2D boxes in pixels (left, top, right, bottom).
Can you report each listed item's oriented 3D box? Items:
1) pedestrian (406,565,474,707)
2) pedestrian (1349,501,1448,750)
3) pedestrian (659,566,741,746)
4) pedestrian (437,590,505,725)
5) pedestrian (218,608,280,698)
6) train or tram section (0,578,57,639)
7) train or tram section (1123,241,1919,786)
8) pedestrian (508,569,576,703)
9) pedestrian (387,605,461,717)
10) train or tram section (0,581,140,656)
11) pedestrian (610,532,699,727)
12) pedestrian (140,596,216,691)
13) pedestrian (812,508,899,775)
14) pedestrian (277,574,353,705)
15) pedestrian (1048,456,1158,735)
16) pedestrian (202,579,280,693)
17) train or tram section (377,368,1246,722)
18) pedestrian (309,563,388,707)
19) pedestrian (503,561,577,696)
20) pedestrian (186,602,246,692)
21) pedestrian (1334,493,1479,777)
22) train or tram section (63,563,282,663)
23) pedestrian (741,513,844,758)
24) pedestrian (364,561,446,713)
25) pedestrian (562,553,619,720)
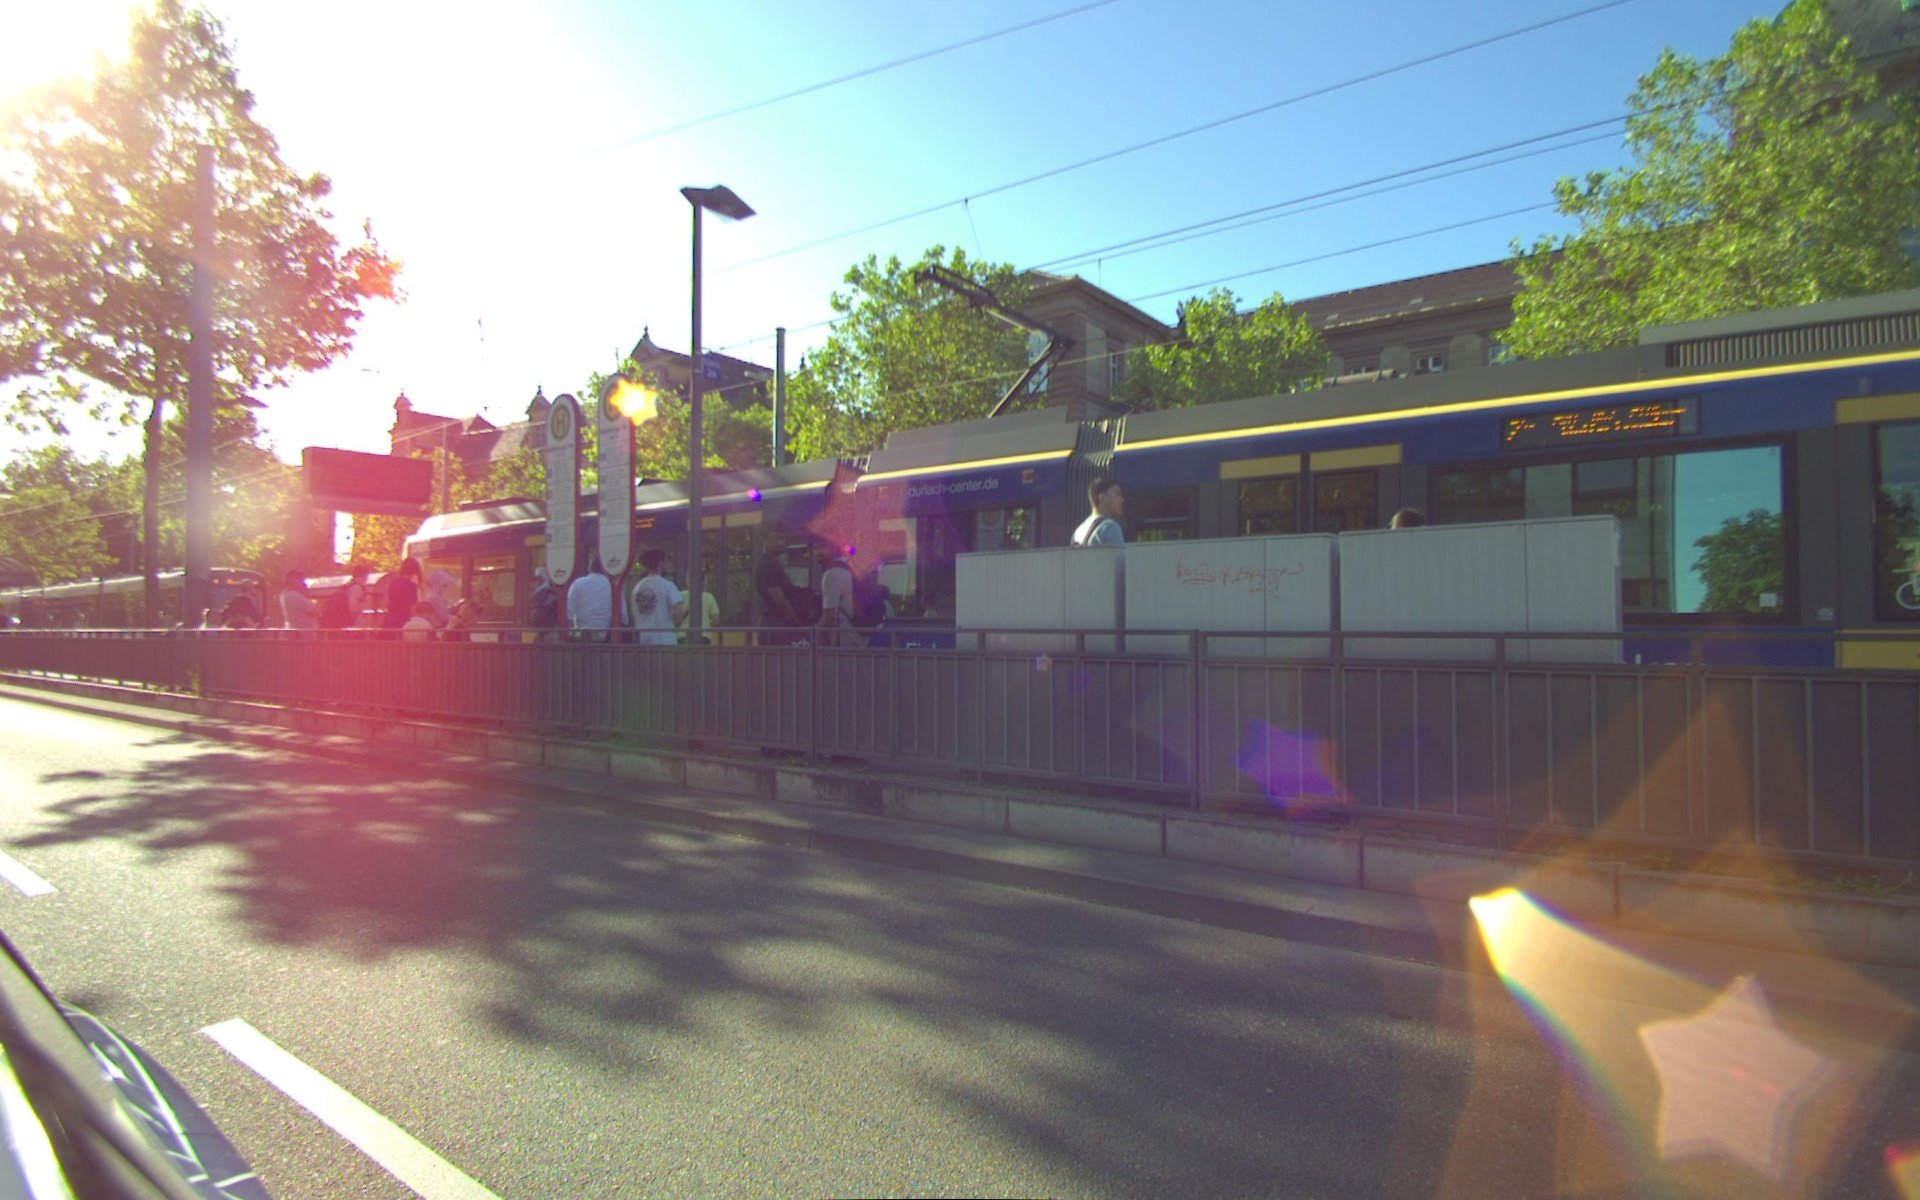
[{"bbox_3d":[-6.495,0.451,12.644,0.620,1.721,0.510,-2,-3,37],"label":"pedestrian"},{"bbox_3d":[3.199,0.185,7.376,0.544,1.715,0.603,-1,-3,33],"label":"pedestrian"},{"bbox_3d":[-2.671,0.566,10.423,0.610,1.783,0.548,-1,-3,33],"label":"pedestrian"},{"bbox_3d":[-4.975,0.574,10.301,0.506,1.326,0.412,-2,-3,36],"label":"pedestrian"},{"bbox_3d":[-10.215,0.754,14.541,0.603,1.256,0.529,-2,-3,36],"label":"pedestrian"},{"bbox_3d":[-46.761,0.531,48.414,15.651,2.584,2.538,-2,-2,38],"label":"train or tram section"},{"bbox_3d":[7.571,-0.542,6.562,13.093,3.284,2.887,0,0,38],"label":"train or tram section"},{"bbox_3d":[-4.930,0.424,11.940,0.530,1.530,0.540,-2,-3,37],"label":"pedestrian"},{"bbox_3d":[-5.956,0.664,11.247,0.530,1.201,0.540,-2,-3,37],"label":"pedestrian"},{"bbox_3d":[-47.479,1.068,53.180,18.249,3.460,2.844,-2,-1,38],"label":"train or tram section"},{"bbox_3d":[-2.800,0.273,9.286,0.610,1.715,0.501,-1,-3,34],"label":"pedestrian"},{"bbox_3d":[-12.900,0.718,16.707,0.750,1.521,0.769,-1,-3,34],"label":"pedestrian"},{"bbox_3d":[-0.731,0.279,6.971,0.531,1.747,0.551,0,-2,-13],"label":"pedestrian"},{"bbox_3d":[-8.351,0.509,13.101,0.570,1.646,0.654,-2,-3,38],"label":"pedestrian"},{"bbox_3d":[0.953,-0.021,6.714,0.538,1.747,0.543,-1,-3,33],"label":"pedestrian"},{"bbox_3d":[-11.495,0.571,16.188,0.721,1.766,0.769,-1,-3,34],"label":"pedestrian"},{"bbox_3d":[-3.851,-0.493,15.398,15.869,3.284,2.887,0,0,38],"label":"train or tram section"},{"bbox_3d":[-7.526,0.429,12.457,0.570,1.709,0.654,-2,-3,38],"label":"pedestrian"},{"bbox_3d":[-5.354,0.364,12.904,0.621,1.662,0.613,-1,-3,33],"label":"pedestrian"},{"bbox_3d":[-11.126,0.703,15.138,0.603,1.309,0.529,-1,-3,34],"label":"pedestrian"},{"bbox_3d":[2.901,0.222,6.578,0.745,1.715,0.627,-1,-3,34],"label":"pedestrian"},{"bbox_3d":[-33.129,0.662,41.934,18.188,3.460,2.822,-2,-1,38],"label":"train or tram section"},{"bbox_3d":[-1.256,0.263,7.620,0.538,1.747,0.543,-1,-3,33],"label":"pedestrian"},{"bbox_3d":[-6.481,0.430,11.822,0.570,1.709,0.654,-2,-3,38],"label":"pedestrian"},{"bbox_3d":[-3.937,0.382,10.778,0.498,1.715,0.613,1,-2,-25],"label":"pedestrian"}]
